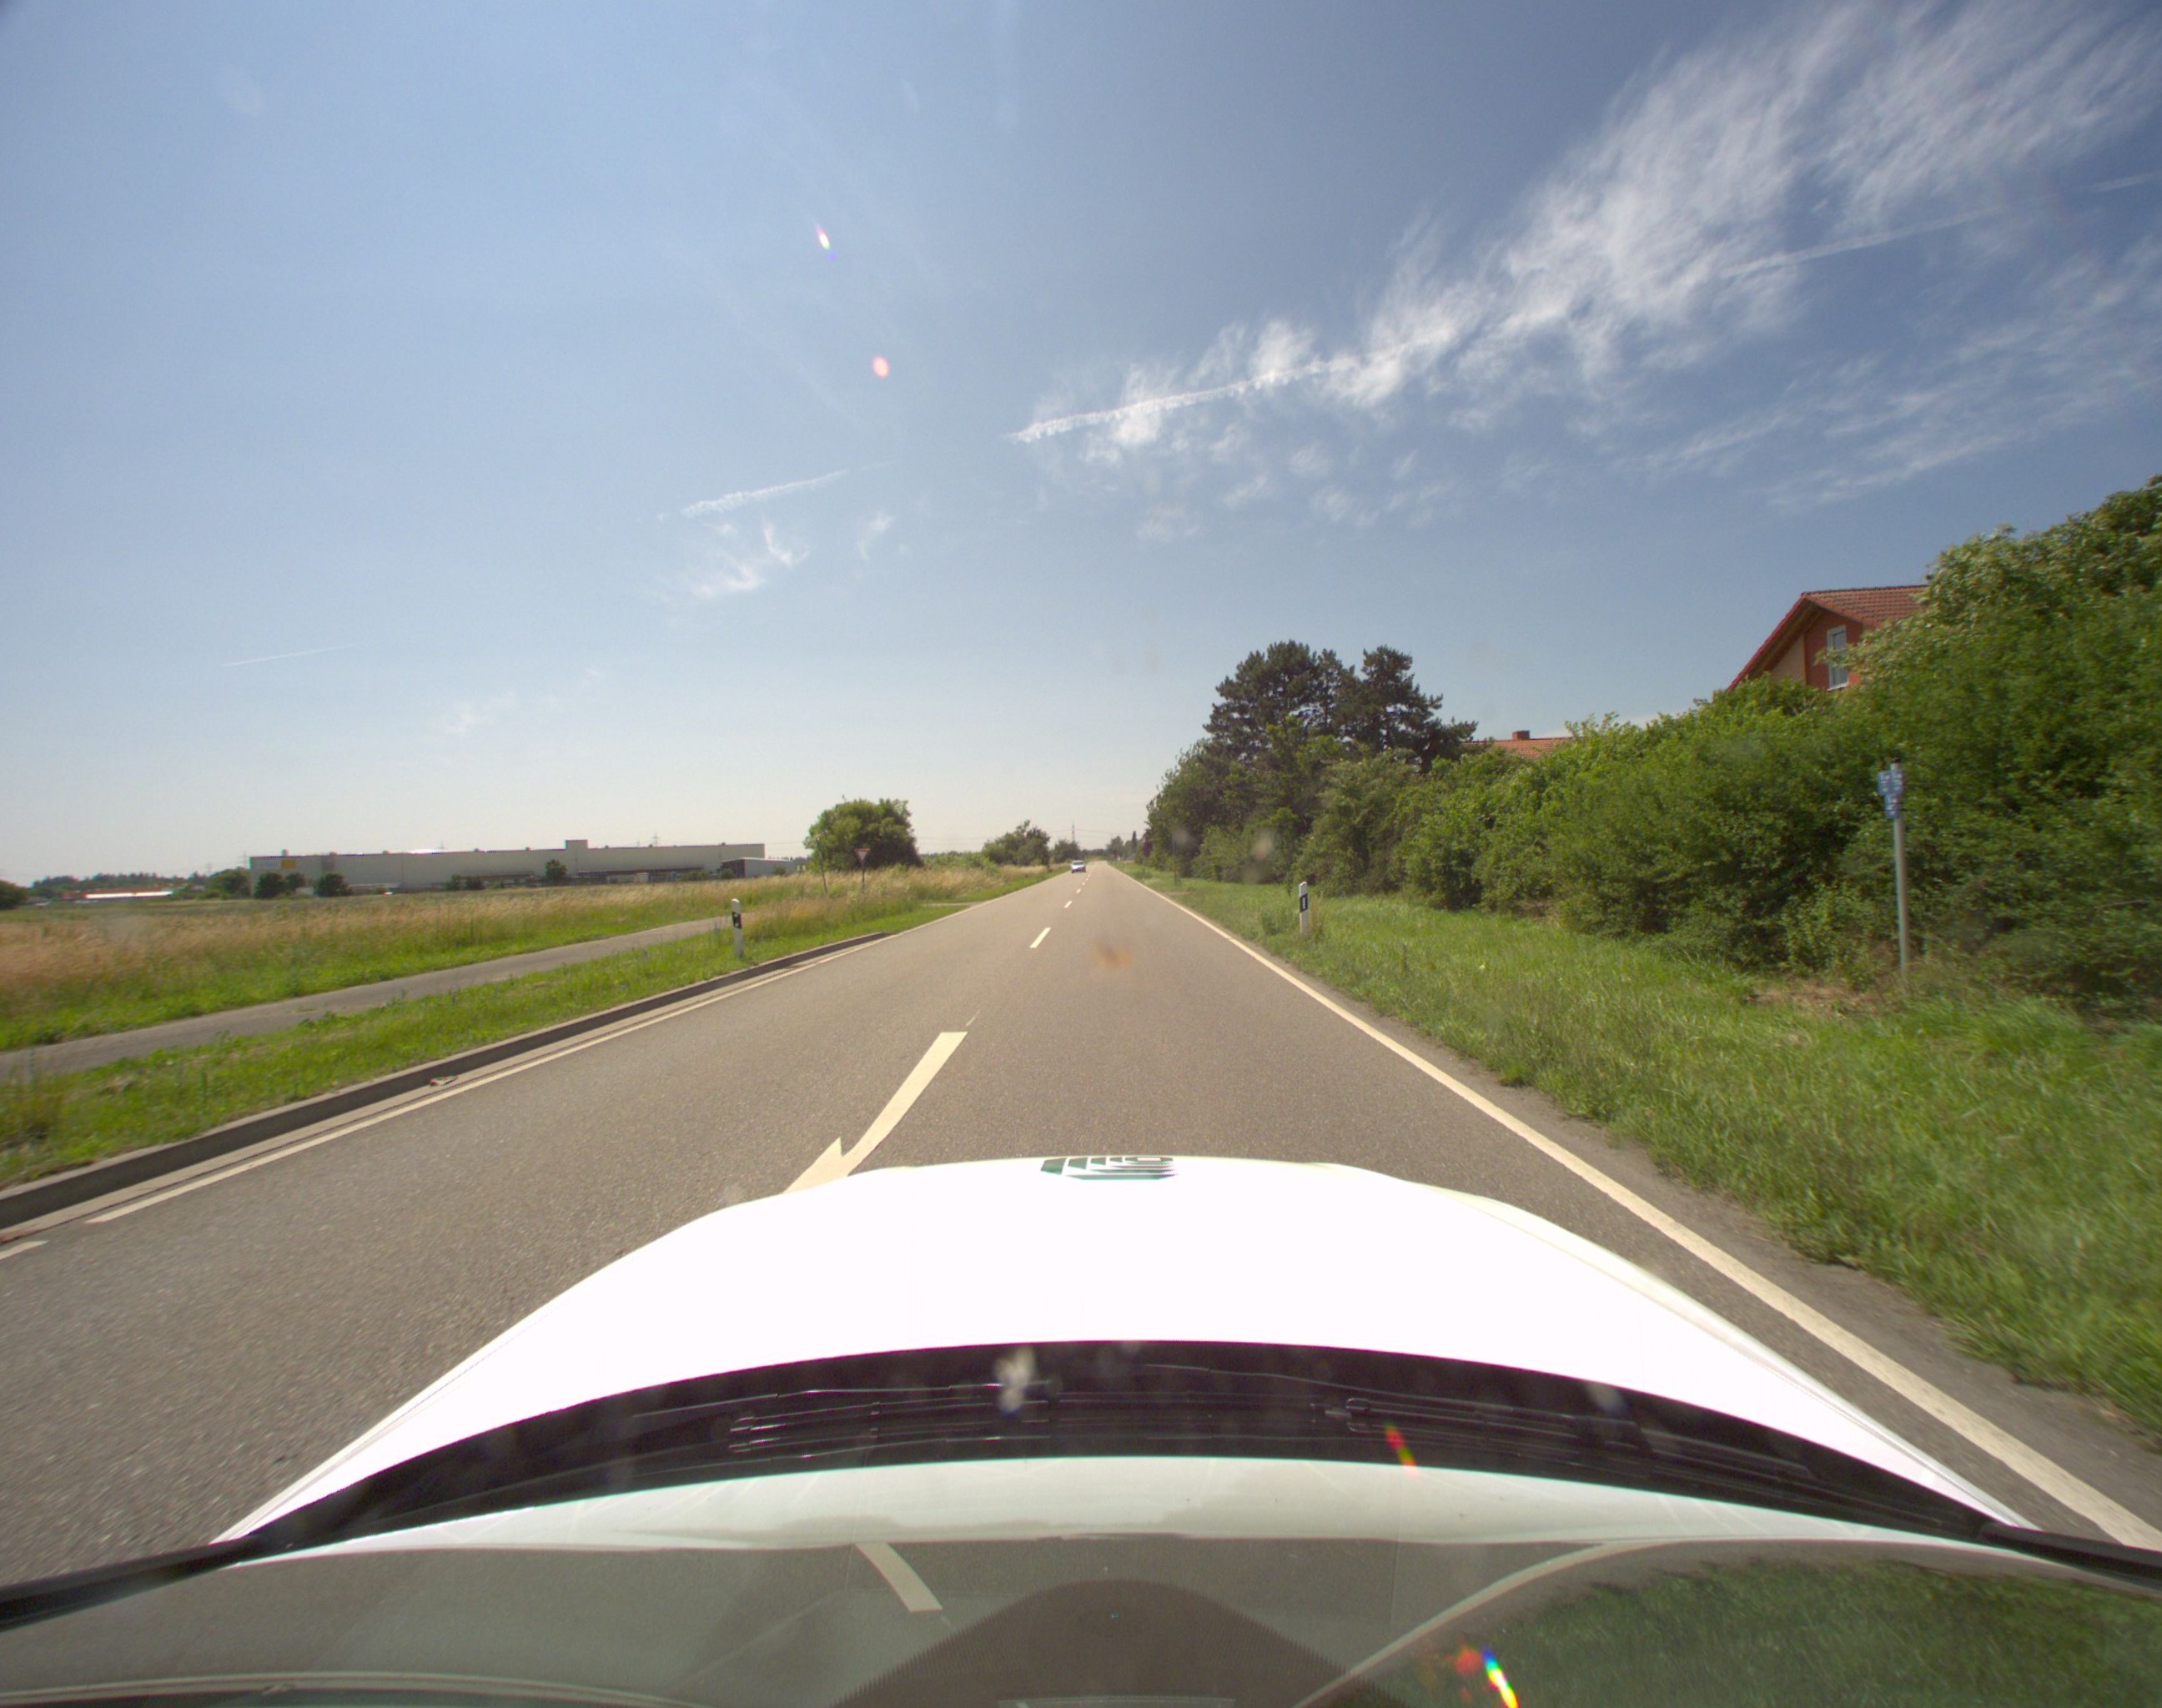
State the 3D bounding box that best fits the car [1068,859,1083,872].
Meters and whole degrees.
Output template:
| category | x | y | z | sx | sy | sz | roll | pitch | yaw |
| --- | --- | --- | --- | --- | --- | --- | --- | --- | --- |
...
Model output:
| category | x | y | z | sx | sy | sz | roll | pitch | yaw |
| --- | --- | --- | --- | --- | --- | --- | --- | --- | --- |
| car | -0.659 | 1.426 | 100.606 | 1.672 | 1.421 | 4.423 | -4 | 0 | 2 |
